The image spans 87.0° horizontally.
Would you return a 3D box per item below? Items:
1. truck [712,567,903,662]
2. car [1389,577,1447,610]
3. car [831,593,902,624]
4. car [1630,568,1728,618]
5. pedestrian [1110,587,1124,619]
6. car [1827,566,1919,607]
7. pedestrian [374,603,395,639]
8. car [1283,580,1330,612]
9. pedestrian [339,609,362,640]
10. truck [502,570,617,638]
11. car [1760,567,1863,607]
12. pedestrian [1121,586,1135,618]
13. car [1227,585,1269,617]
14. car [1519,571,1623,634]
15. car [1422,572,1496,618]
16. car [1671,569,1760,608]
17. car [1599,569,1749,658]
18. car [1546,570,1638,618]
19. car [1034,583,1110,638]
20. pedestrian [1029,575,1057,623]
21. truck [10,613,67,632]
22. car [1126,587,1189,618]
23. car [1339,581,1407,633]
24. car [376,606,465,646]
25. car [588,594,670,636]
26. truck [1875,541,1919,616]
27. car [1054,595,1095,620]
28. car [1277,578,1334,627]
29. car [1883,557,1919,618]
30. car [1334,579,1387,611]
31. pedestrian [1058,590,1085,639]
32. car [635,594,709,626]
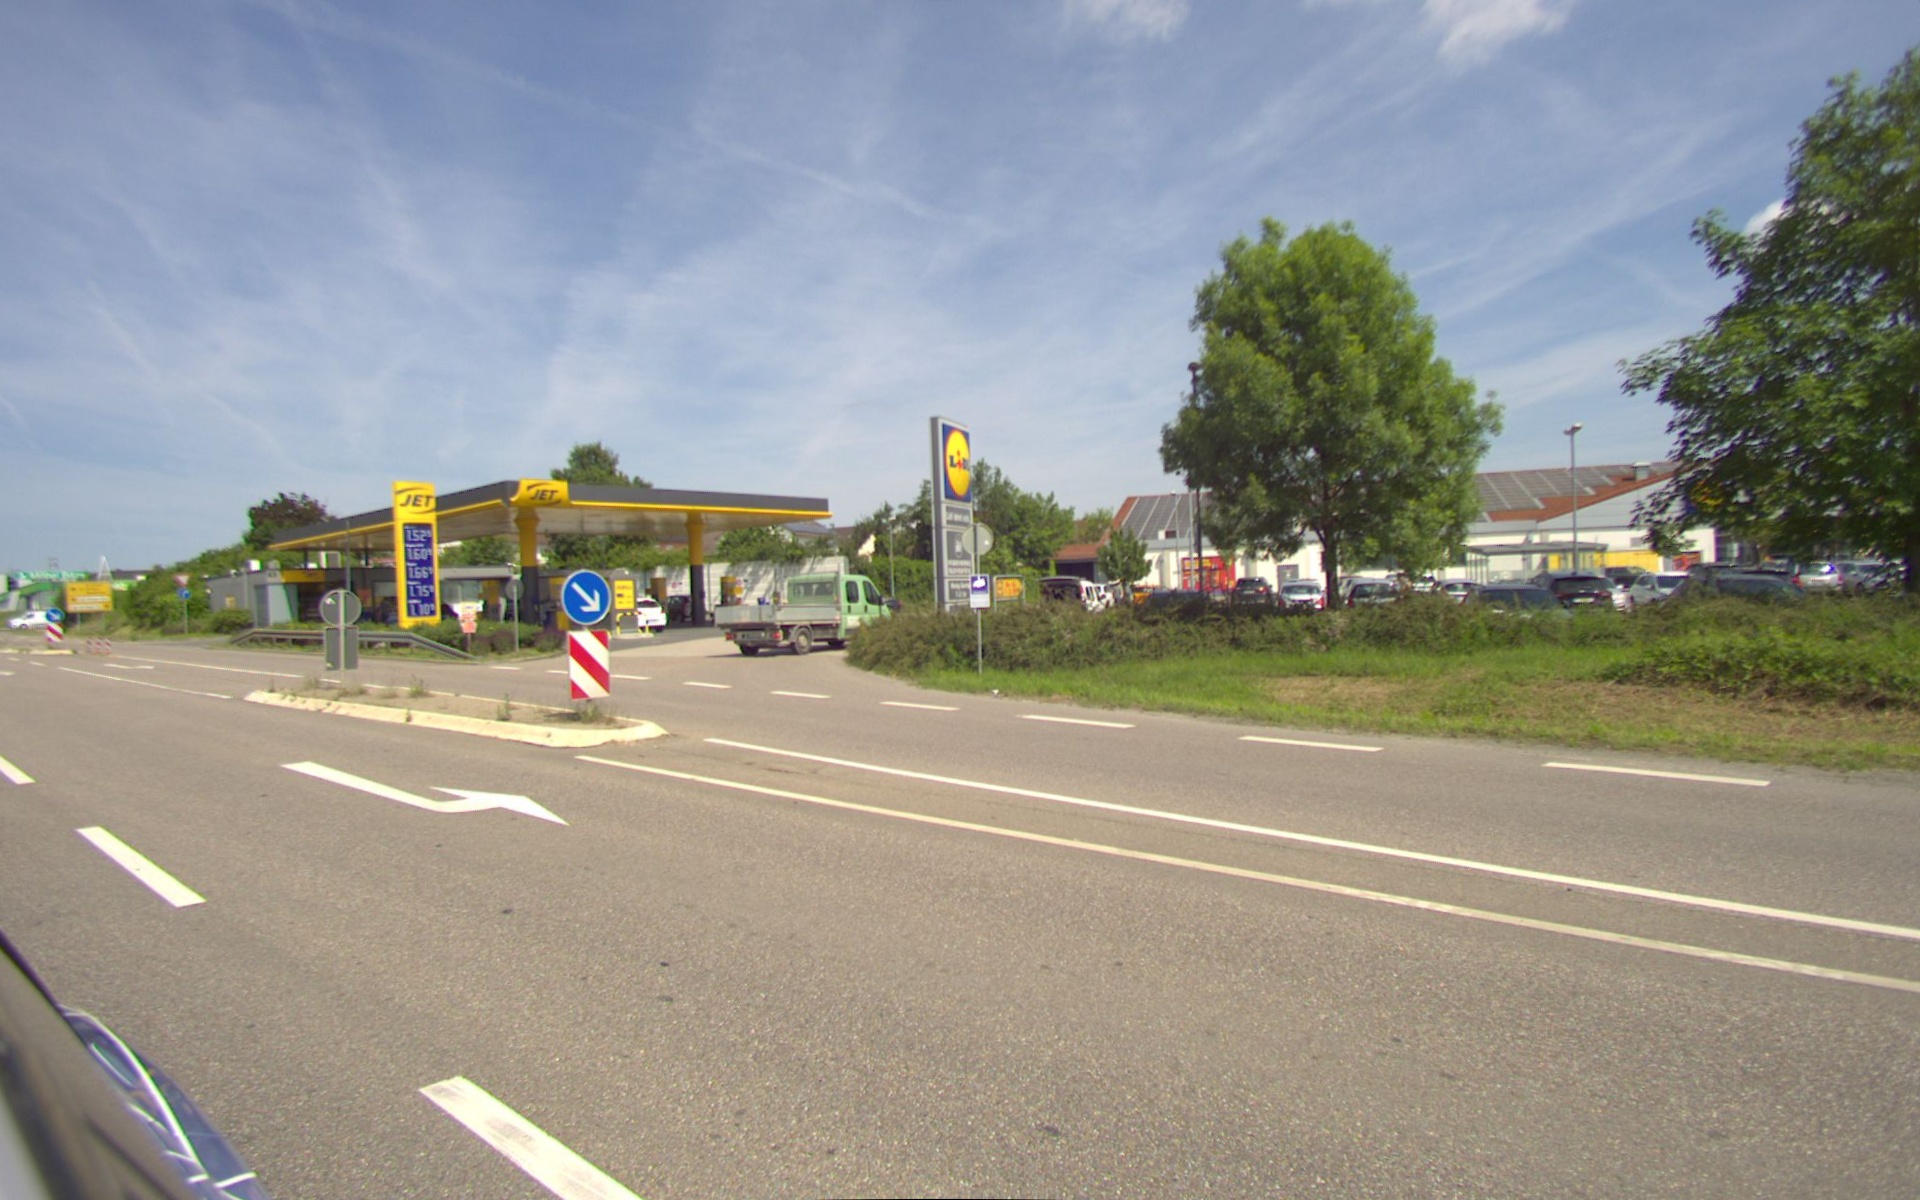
[{"bbox_3d":[-4.149,0.339,29.051,2.237,2.393,6.295,-2,0,26],"label":"truck"},{"bbox_3d":[21.504,-0.317,47.663,1.868,1.453,3.980,-1,1,15],"label":"car"},{"bbox_3d":[-5.322,0.481,57.414,3.812,1.625,1.757,-1,0,-12],"label":"car"},{"bbox_3d":[24.008,-0.233,33.931,1.767,1.540,3.971,-1,0,22],"label":"car"},{"bbox_3d":[7.638,0.150,49.282,0.504,1.564,0.511,-1,0,32],"label":"pedestrian"},{"bbox_3d":[37.405,-0.538,41.164,1.866,1.553,4.230,-1,0,20],"label":"car"},{"bbox_3d":[-30.565,1.110,53.781,0.640,1.852,0.787,-2,0,42],"label":"pedestrian"},{"bbox_3d":[16.874,-0.232,49.369,1.868,1.453,3.980,-1,1,15],"label":"car"},{"bbox_3d":[-29.517,1.179,48.988,0.900,1.438,0.495,-1,0,-38],"label":"pedestrian"},{"bbox_3d":[-18.575,0.169,46.783,6.279,2.944,2.222,-1,0,40],"label":"truck"},{"bbox_3d":[34.995,-0.528,41.731,1.866,1.553,4.230,-1,0,20],"label":"car"},{"bbox_3d":[8.252,0.085,49.676,0.504,1.564,0.512,-1,0,32],"label":"pedestrian"},{"bbox_3d":[14.030,0.032,49.454,1.868,1.453,3.980,-1,1,15],"label":"car"},{"bbox_3d":[18.053,0.026,30.067,1.898,1.687,3.973,-1,1,21],"label":"car"},{"bbox_3d":[17.714,-0.165,36.068,1.764,1.540,3.976,-1,0,18],"label":"car"},{"bbox_3d":[31.972,-0.479,42.991,1.866,1.553,4.230,-1,0,20],"label":"car"},{"bbox_3d":[14.728,0.241,21.105,1.683,1.670,3.970,-1,0,22],"label":"car"},{"bbox_3d":[21.763,-0.210,35.025,1.764,1.540,3.976,-1,0,18],"label":"car"},{"bbox_3d":[4.031,0.336,35.981,1.865,1.825,4.144,-2,0,18],"label":"car"},{"bbox_3d":[2.758,-0.029,33.668,0.801,1.587,0.701,-1,0,14],"label":"pedestrian"},{"bbox_3d":[-108.439,2.688,119.140,1.997,2.024,4.715,-1,1,37],"label":"truck"},{"bbox_3d":[10.094,0.093,51.514,1.879,1.453,3.957,-1,1,31],"label":"car"},{"bbox_3d":[13.294,0.193,32.771,1.769,1.513,4.121,-2,1,19],"label":"car"},{"bbox_3d":[-24.203,1.177,45.350,4.259,1.719,1.974,-2,-1,38],"label":"car"},{"bbox_3d":[-14.261,0.677,43.506,4.001,1.741,1.713,-2,-2,44],"label":"car"},{"bbox_3d":[31.277,-0.685,31.893,1.981,2.383,3.981,-1,0,15],"label":"truck"},{"bbox_3d":[8.688,0.548,76.517,1.987,1.823,4.355,-2,0,22],"label":"car"},{"bbox_3d":[12.793,0.059,37.658,1.850,1.688,4.398,-2,1,18],"label":"car"},{"bbox_3d":[27.582,-0.368,27.367,1.981,1.708,4.407,-1,0,15],"label":"car"},{"bbox_3d":[19.103,-0.264,48.380,1.868,1.453,3.980,-1,1,15],"label":"car"},{"bbox_3d":[3.702,0.478,33.686,0.801,1.587,0.701,-1,0,14],"label":"pedestrian"},{"bbox_3d":[-15.713,0.564,55.208,3.862,1.625,1.735,-2,-1,31],"label":"car"}]
